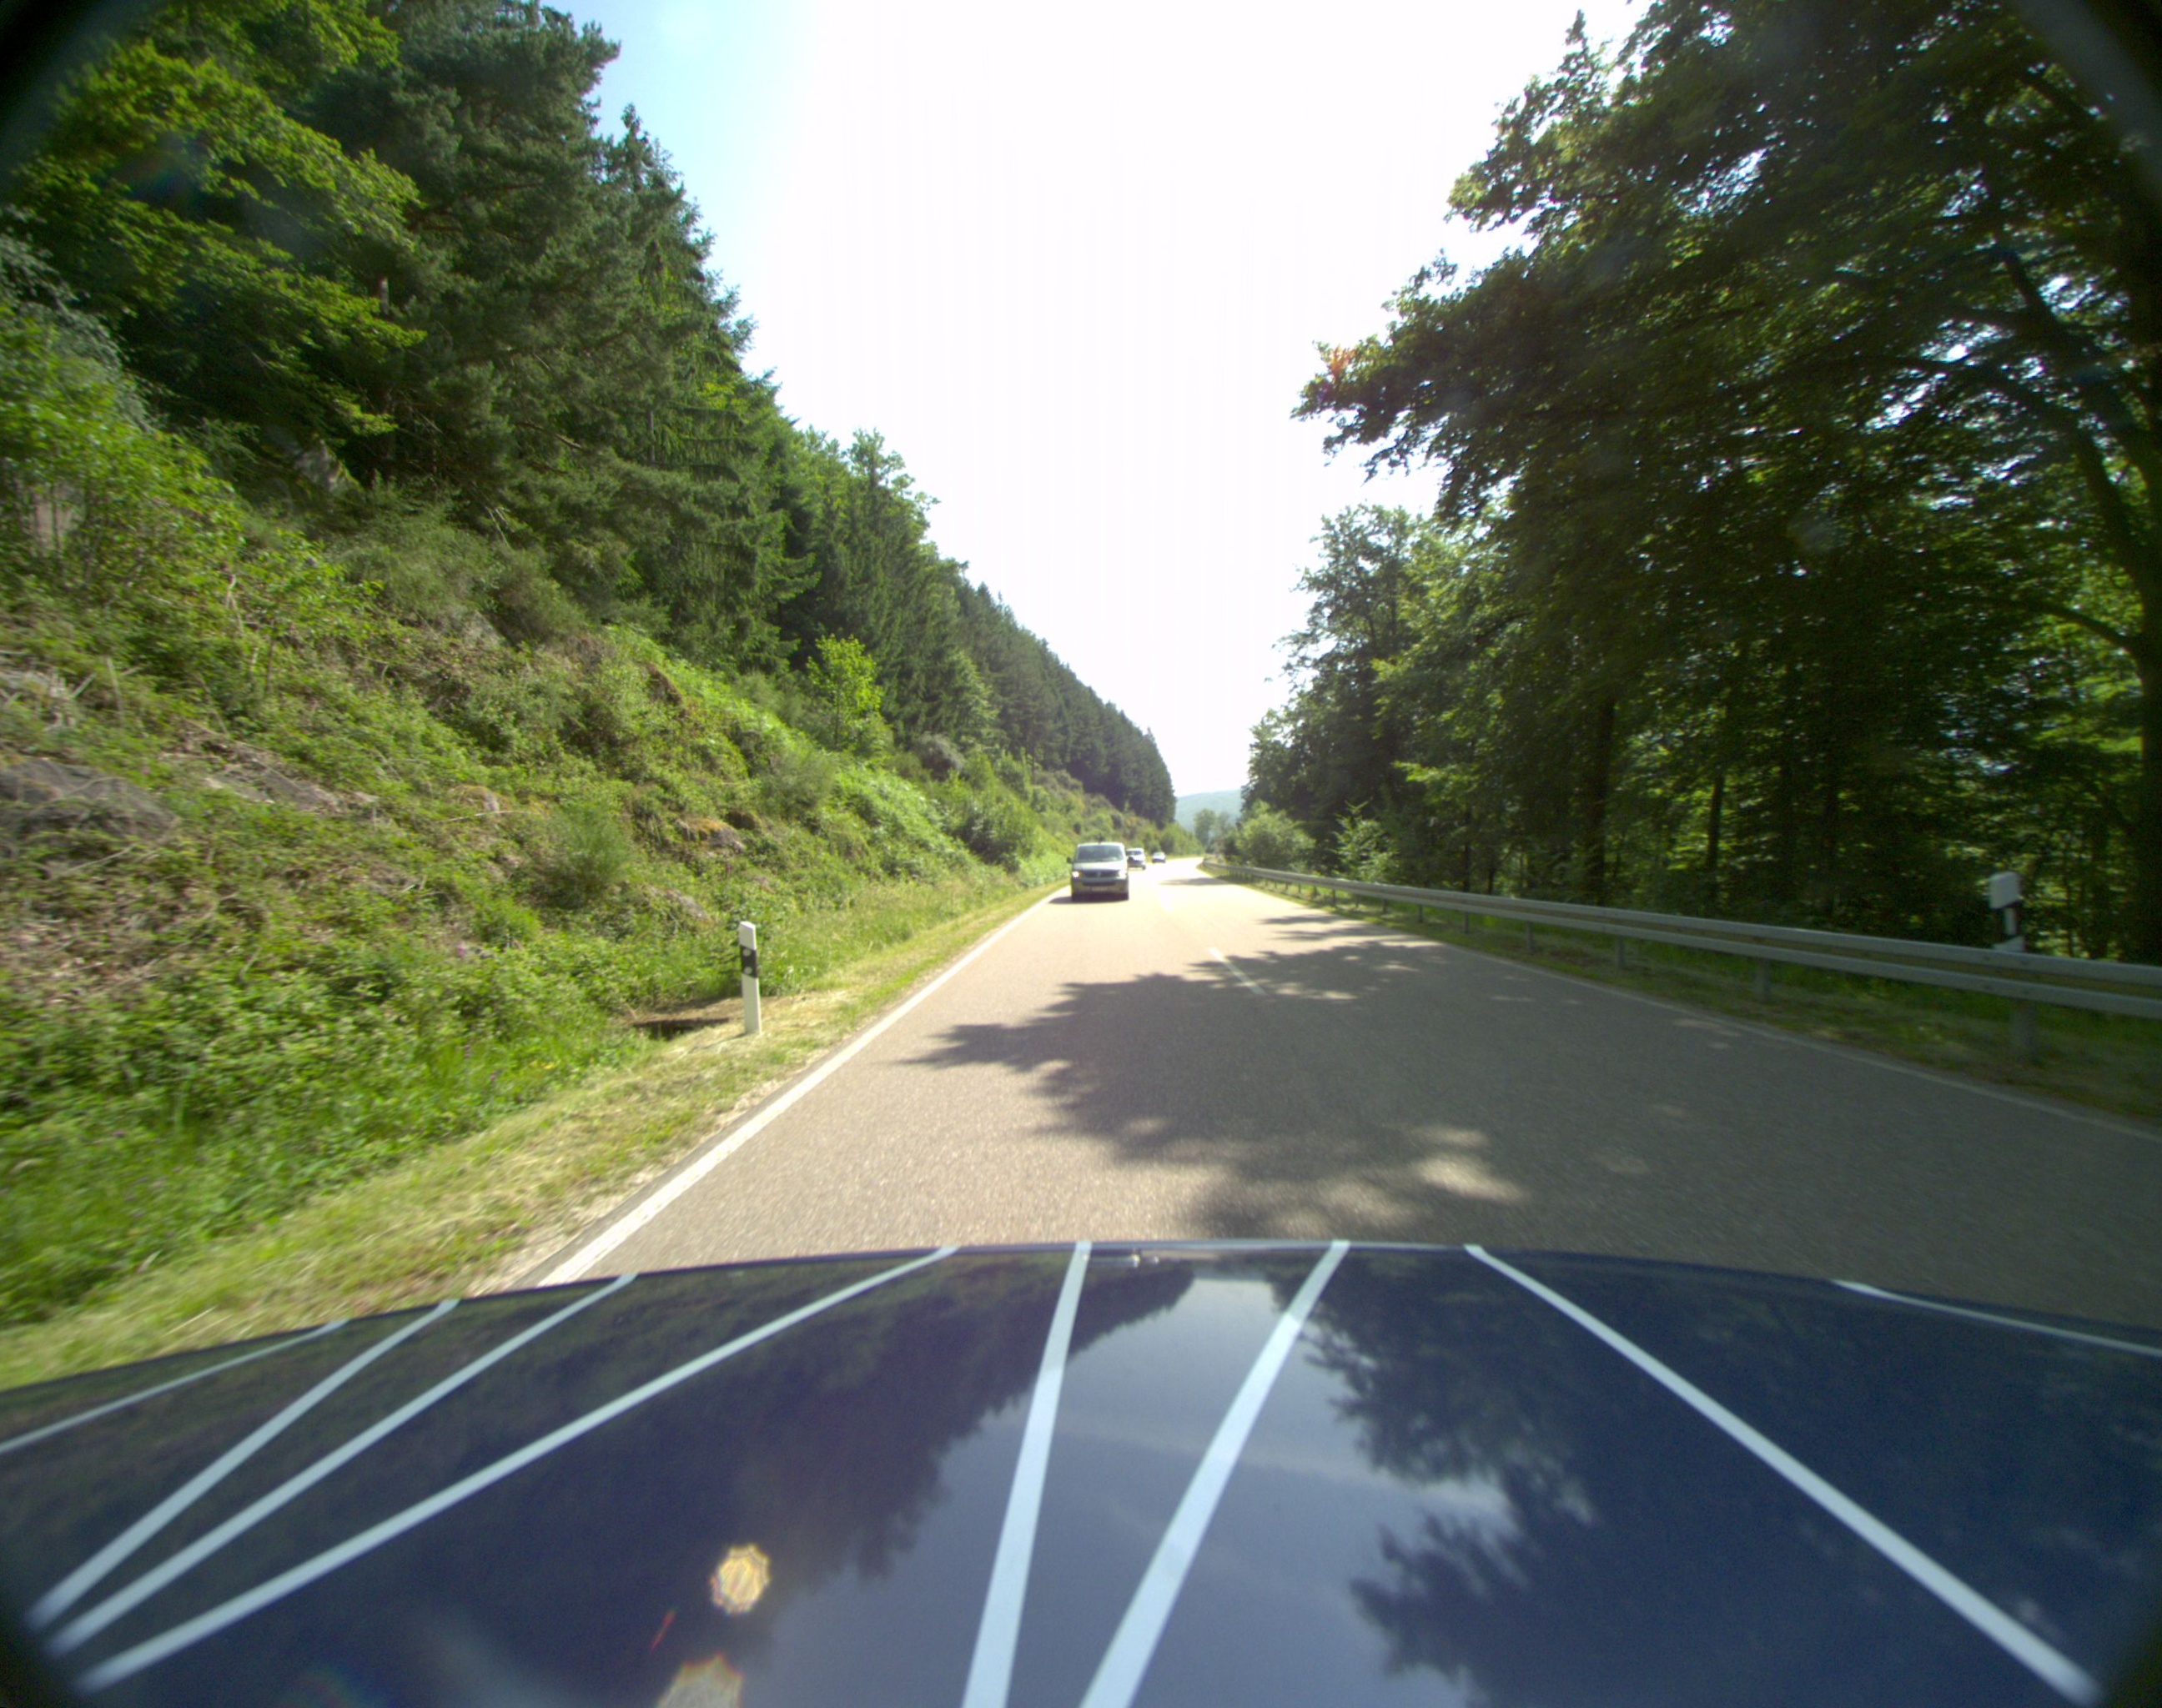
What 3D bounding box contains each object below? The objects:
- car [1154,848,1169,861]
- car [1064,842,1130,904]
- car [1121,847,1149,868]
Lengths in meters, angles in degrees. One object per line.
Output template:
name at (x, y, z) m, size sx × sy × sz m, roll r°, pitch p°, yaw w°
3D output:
car at (10.852, 0.013, 102.316) m, size 1.997 × 1.718 × 4.002 m, roll -1°, pitch 0°, yaw 6°
car at (0.625, 0.578, 26.074) m, size 1.990 × 1.899 × 4.761 m, roll -2°, pitch 0°, yaw 3°
car at (4.877, 0.285, 68.262) m, size 2.136 × 1.825 × 4.725 m, roll -1°, pitch 0°, yaw 8°
